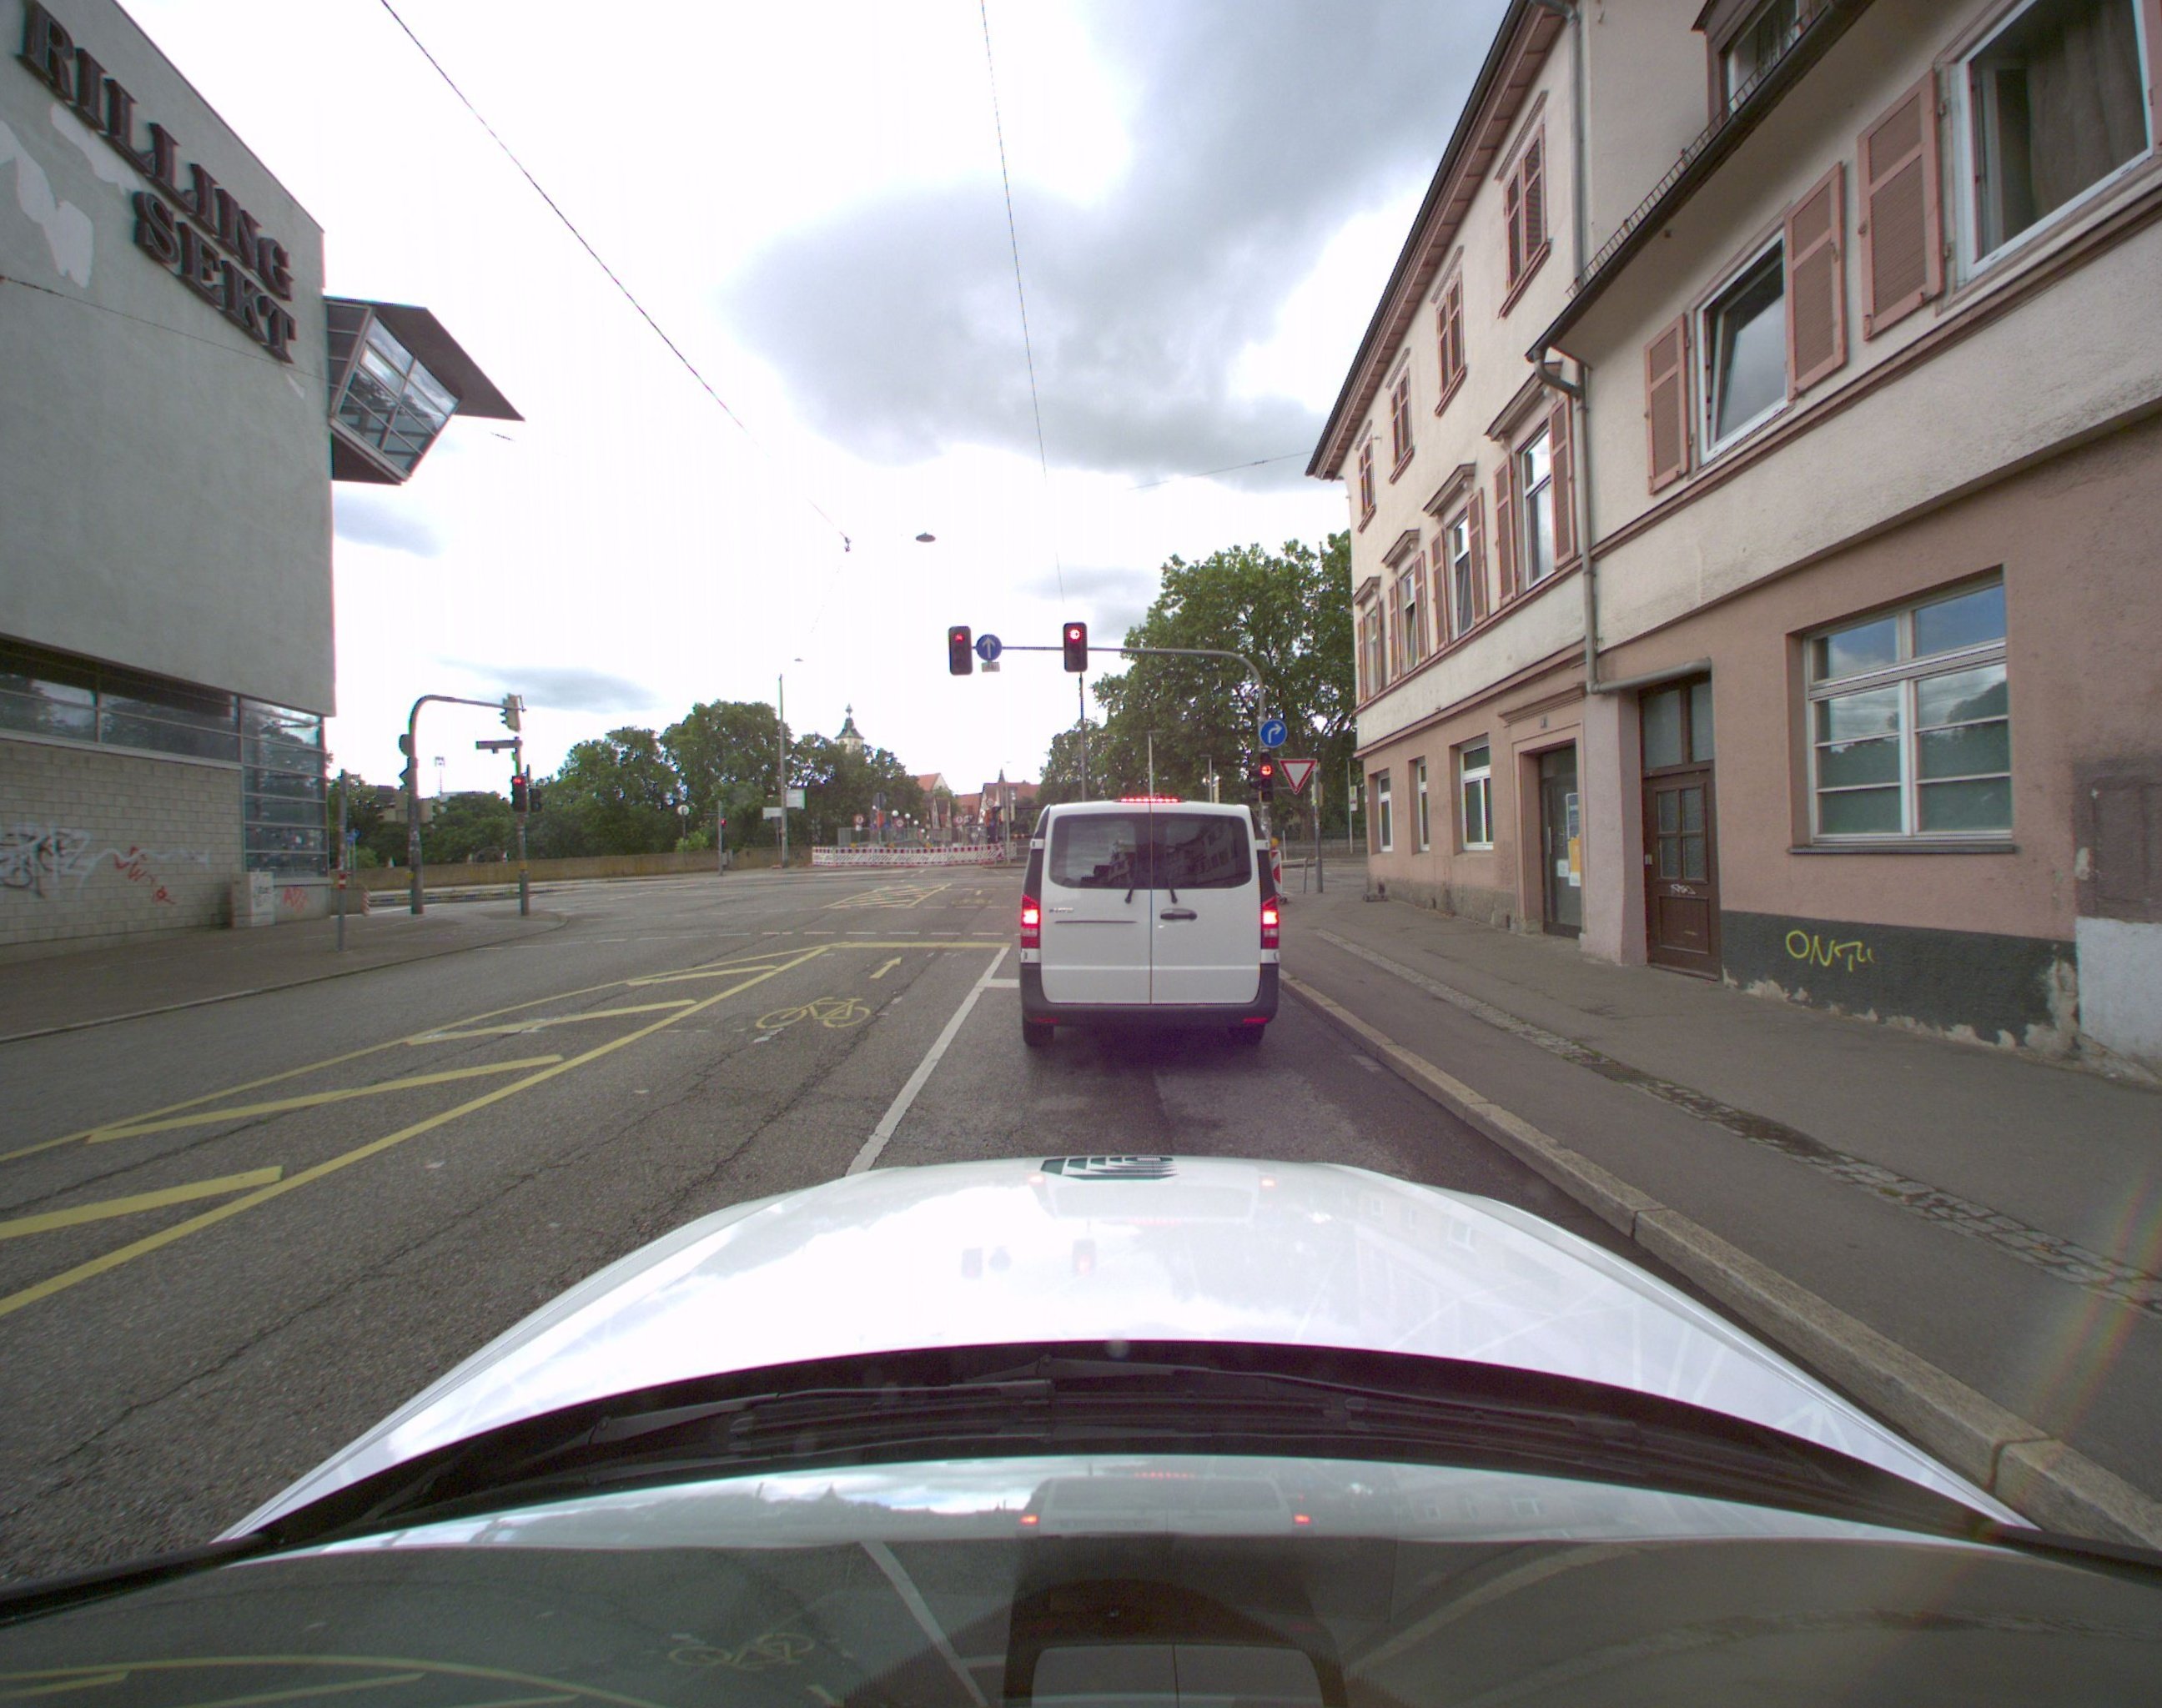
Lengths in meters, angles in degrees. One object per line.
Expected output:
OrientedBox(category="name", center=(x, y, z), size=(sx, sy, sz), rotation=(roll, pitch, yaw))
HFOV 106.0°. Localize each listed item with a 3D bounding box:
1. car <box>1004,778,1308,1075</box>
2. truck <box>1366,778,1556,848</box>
OrientedBox(category="car", center=(0.474, 0.410, 7.471), size=(1.988, 1.922, 4.248), rotation=(-1, 2, -1))
OrientedBox(category="truck", center=(21.693, -2.334, 46.638), size=(10.172, 3.696, 2.266), rotation=(-1, 0, -6))
